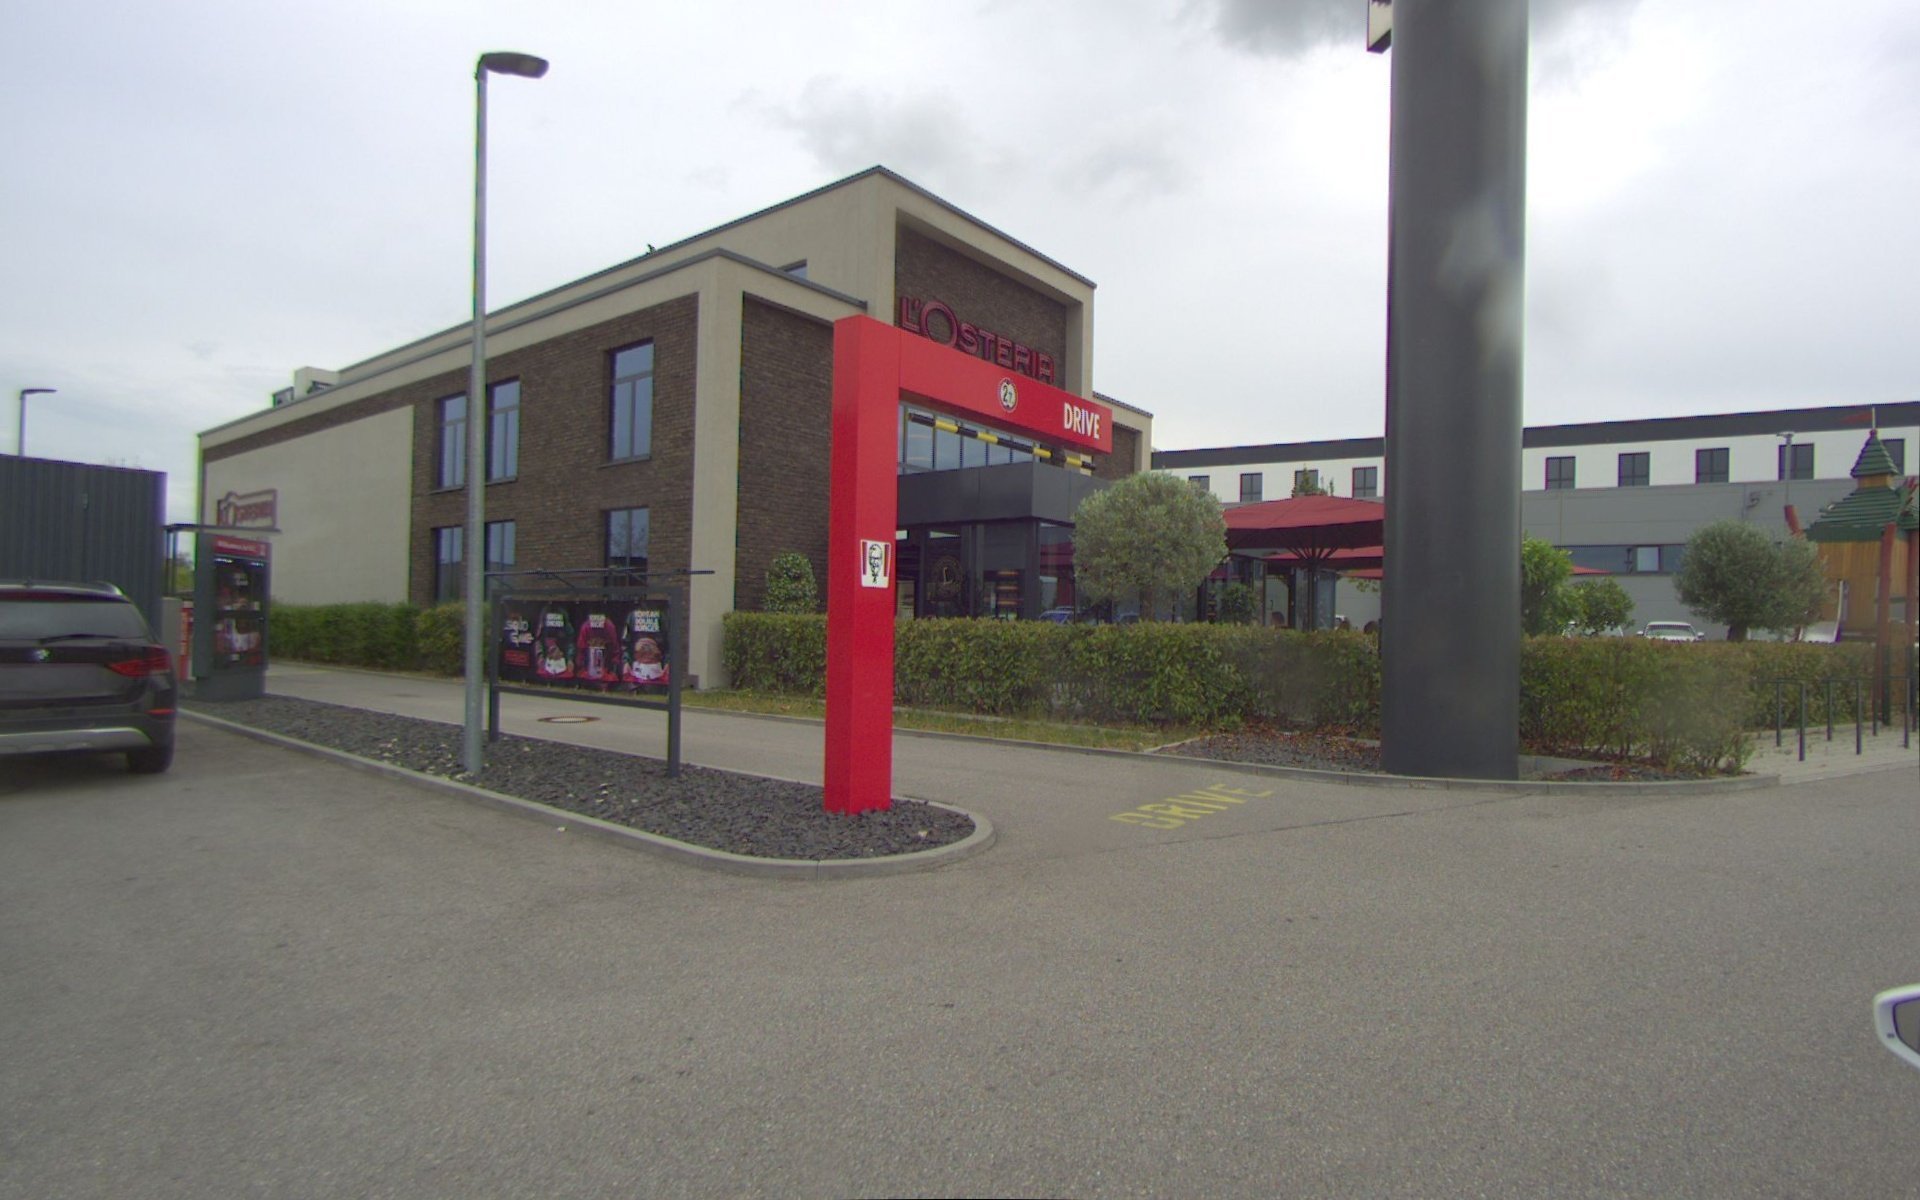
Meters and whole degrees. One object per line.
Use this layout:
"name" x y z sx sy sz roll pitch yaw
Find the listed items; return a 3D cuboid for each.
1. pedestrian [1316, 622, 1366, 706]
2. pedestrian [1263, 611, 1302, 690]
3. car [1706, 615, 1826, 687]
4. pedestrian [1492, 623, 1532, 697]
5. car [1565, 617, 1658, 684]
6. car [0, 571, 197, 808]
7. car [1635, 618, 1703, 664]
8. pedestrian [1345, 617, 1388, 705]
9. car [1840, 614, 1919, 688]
"pedestrian" 8.283 1.382 21.850 0.695 1.771 0.738 1 -2 -27
"pedestrian" 5.022 0.783 15.656 0.415 1.215 0.454 -2 -3 44
"car" 20.522 1.282 25.760 1.966 1.672 4.565 -2 -3 34
"pedestrian" 13.398 1.445 24.379 0.731 1.771 0.701 -2 -3 36
"car" 17.880 1.361 27.579 1.966 1.672 4.565 -2 -3 34
"car" -7.920 0.600 8.287 3.939 1.617 1.728 1 -1 40
"car" 25.874 1.516 36.750 1.712 1.572 4.255 -1 -3 31
"pedestrian" 5.747 0.859 14.188 0.415 1.215 0.454 -2 -3 44
"car" 23.035 1.220 24.325 1.966 1.672 4.565 -2 -3 34
